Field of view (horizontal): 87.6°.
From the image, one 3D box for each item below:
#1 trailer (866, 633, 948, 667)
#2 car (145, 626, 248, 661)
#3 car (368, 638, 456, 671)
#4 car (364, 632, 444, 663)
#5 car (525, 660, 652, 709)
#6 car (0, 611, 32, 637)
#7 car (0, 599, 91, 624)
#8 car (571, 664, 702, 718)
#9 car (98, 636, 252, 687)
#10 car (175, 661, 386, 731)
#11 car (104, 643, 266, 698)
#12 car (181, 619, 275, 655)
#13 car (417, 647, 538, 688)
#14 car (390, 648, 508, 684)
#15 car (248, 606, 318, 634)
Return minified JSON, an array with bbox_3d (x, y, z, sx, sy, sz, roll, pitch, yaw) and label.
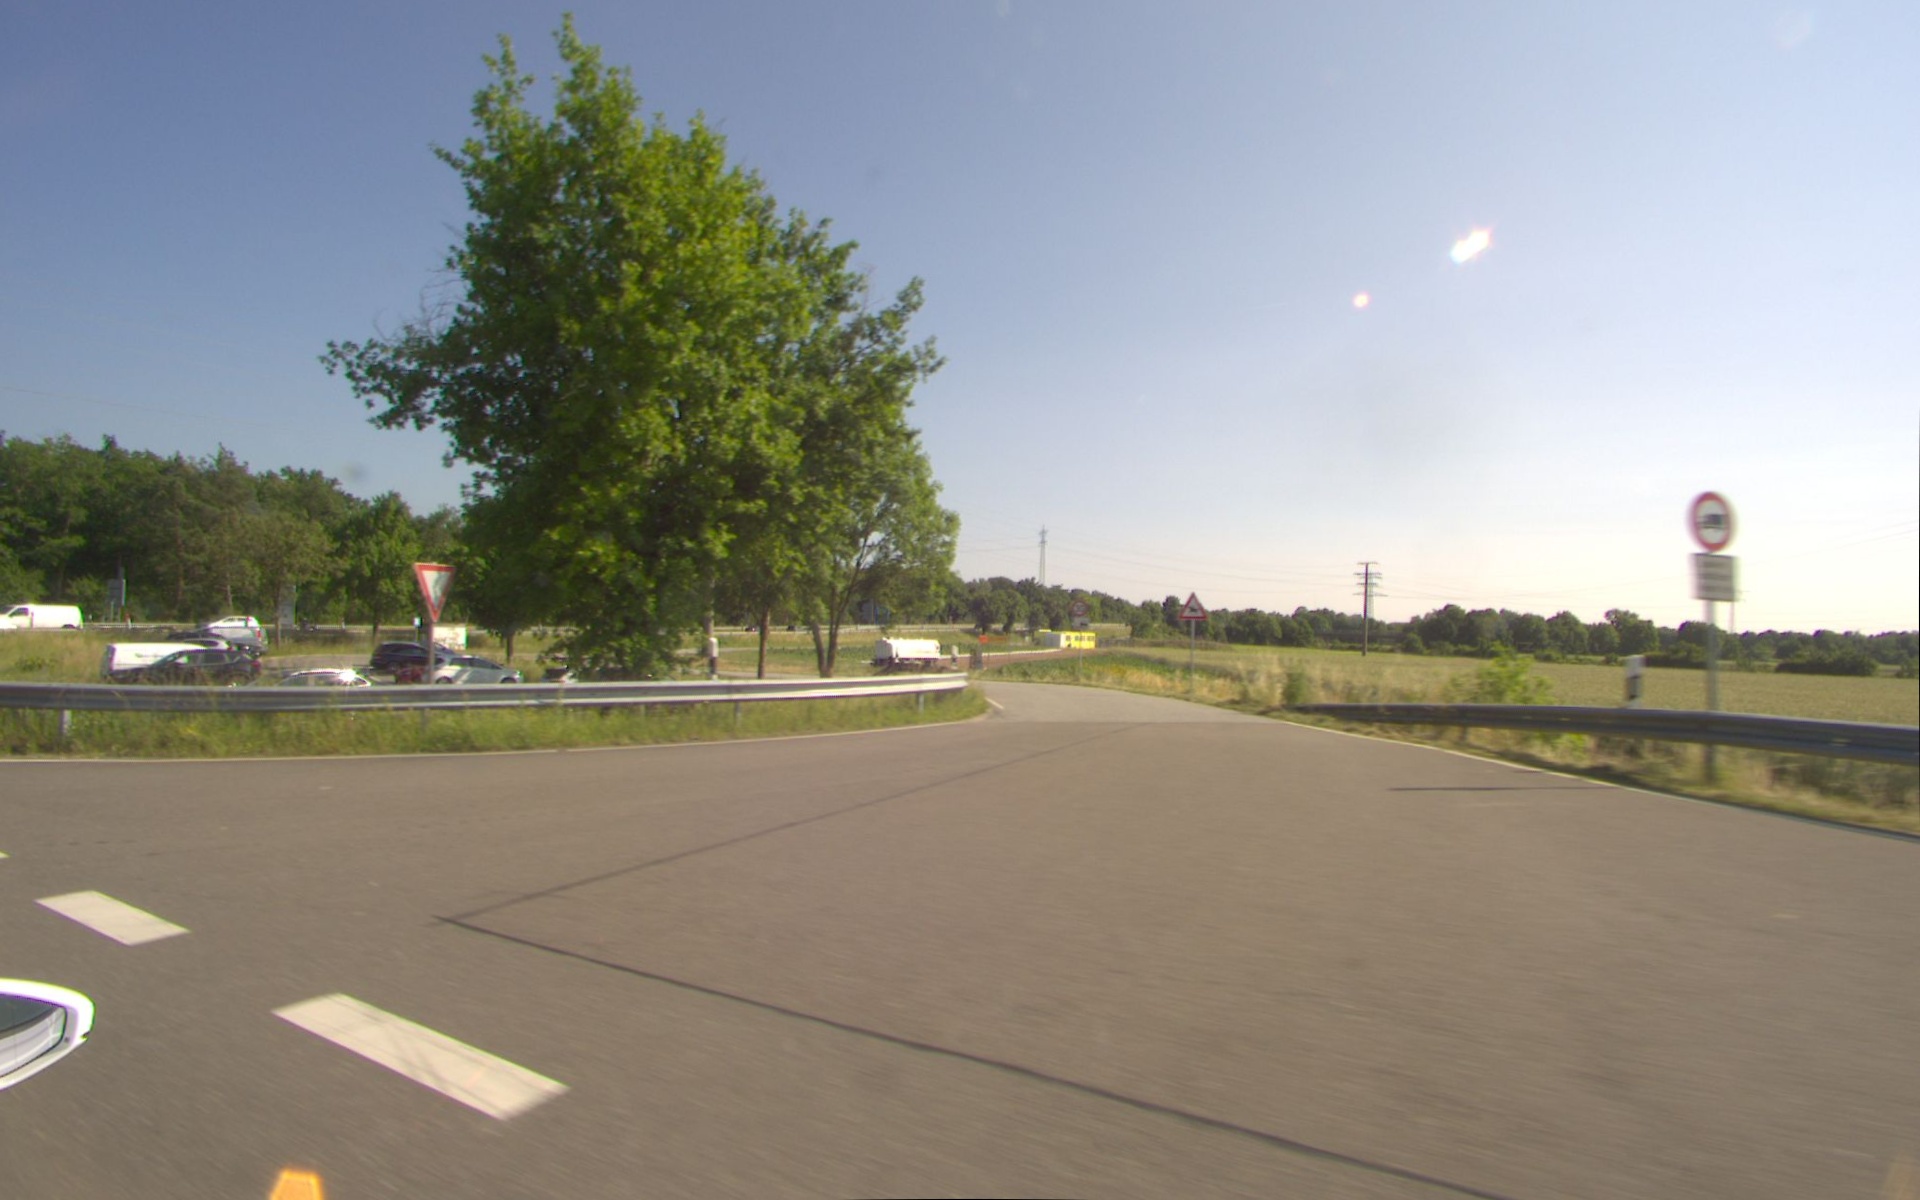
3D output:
[{"bbox_3d":[-4.437,4.283,85.276,6.745,2.704,2.864,4,-2,-45],"label":"trailer"},{"bbox_3d":[-40.004,2.275,52.582,3.940,1.639,1.884,4,-3,-26],"label":"car"},{"bbox_3d":[-29.449,2.918,53.819,3.949,1.600,1.880,4,-3,-33],"label":"car"},{"bbox_3d":[-32.543,2.783,58.650,3.949,1.600,1.777,4,-3,-33],"label":"car"},{"bbox_3d":[-13.574,3.085,36.778,1.867,1.600,3.976,0,-4,38],"label":"car"},{"bbox_3d":[-57.061,1.411,58.131,1.966,1.479,4.230,0,0,23],"label":"car"},{"bbox_3d":[-61.621,0.744,66.996,1.966,1.573,4.883,0,0,23],"label":"car"},{"bbox_3d":[-11.246,3.154,35.022,1.867,1.686,3.976,0,-4,37],"label":"car"},{"bbox_3d":[-29.911,2.327,38.245,1.880,1.806,4.335,0,-2,42],"label":"car"},{"bbox_3d":[-19.402,2.684,28.814,1.971,1.647,4.644,0,-1,32],"label":"car"},{"bbox_3d":[-27.848,2.471,36.086,1.880,1.689,4.391,1,0,42],"label":"car"},{"bbox_3d":[-42.509,2.142,58.272,3.935,1.900,1.887,3,-3,-21],"label":"car"},{"bbox_3d":[-20.985,2.963,43.631,4.324,1.609,1.983,5,-3,-41],"label":"car"},{"bbox_3d":[-22.924,2.993,45.010,4.324,1.465,1.983,5,-3,-41],"label":"car"},{"bbox_3d":[-50.415,1.484,74.694,1.770,2.040,3.989,1,0,24],"label":"car"}]
